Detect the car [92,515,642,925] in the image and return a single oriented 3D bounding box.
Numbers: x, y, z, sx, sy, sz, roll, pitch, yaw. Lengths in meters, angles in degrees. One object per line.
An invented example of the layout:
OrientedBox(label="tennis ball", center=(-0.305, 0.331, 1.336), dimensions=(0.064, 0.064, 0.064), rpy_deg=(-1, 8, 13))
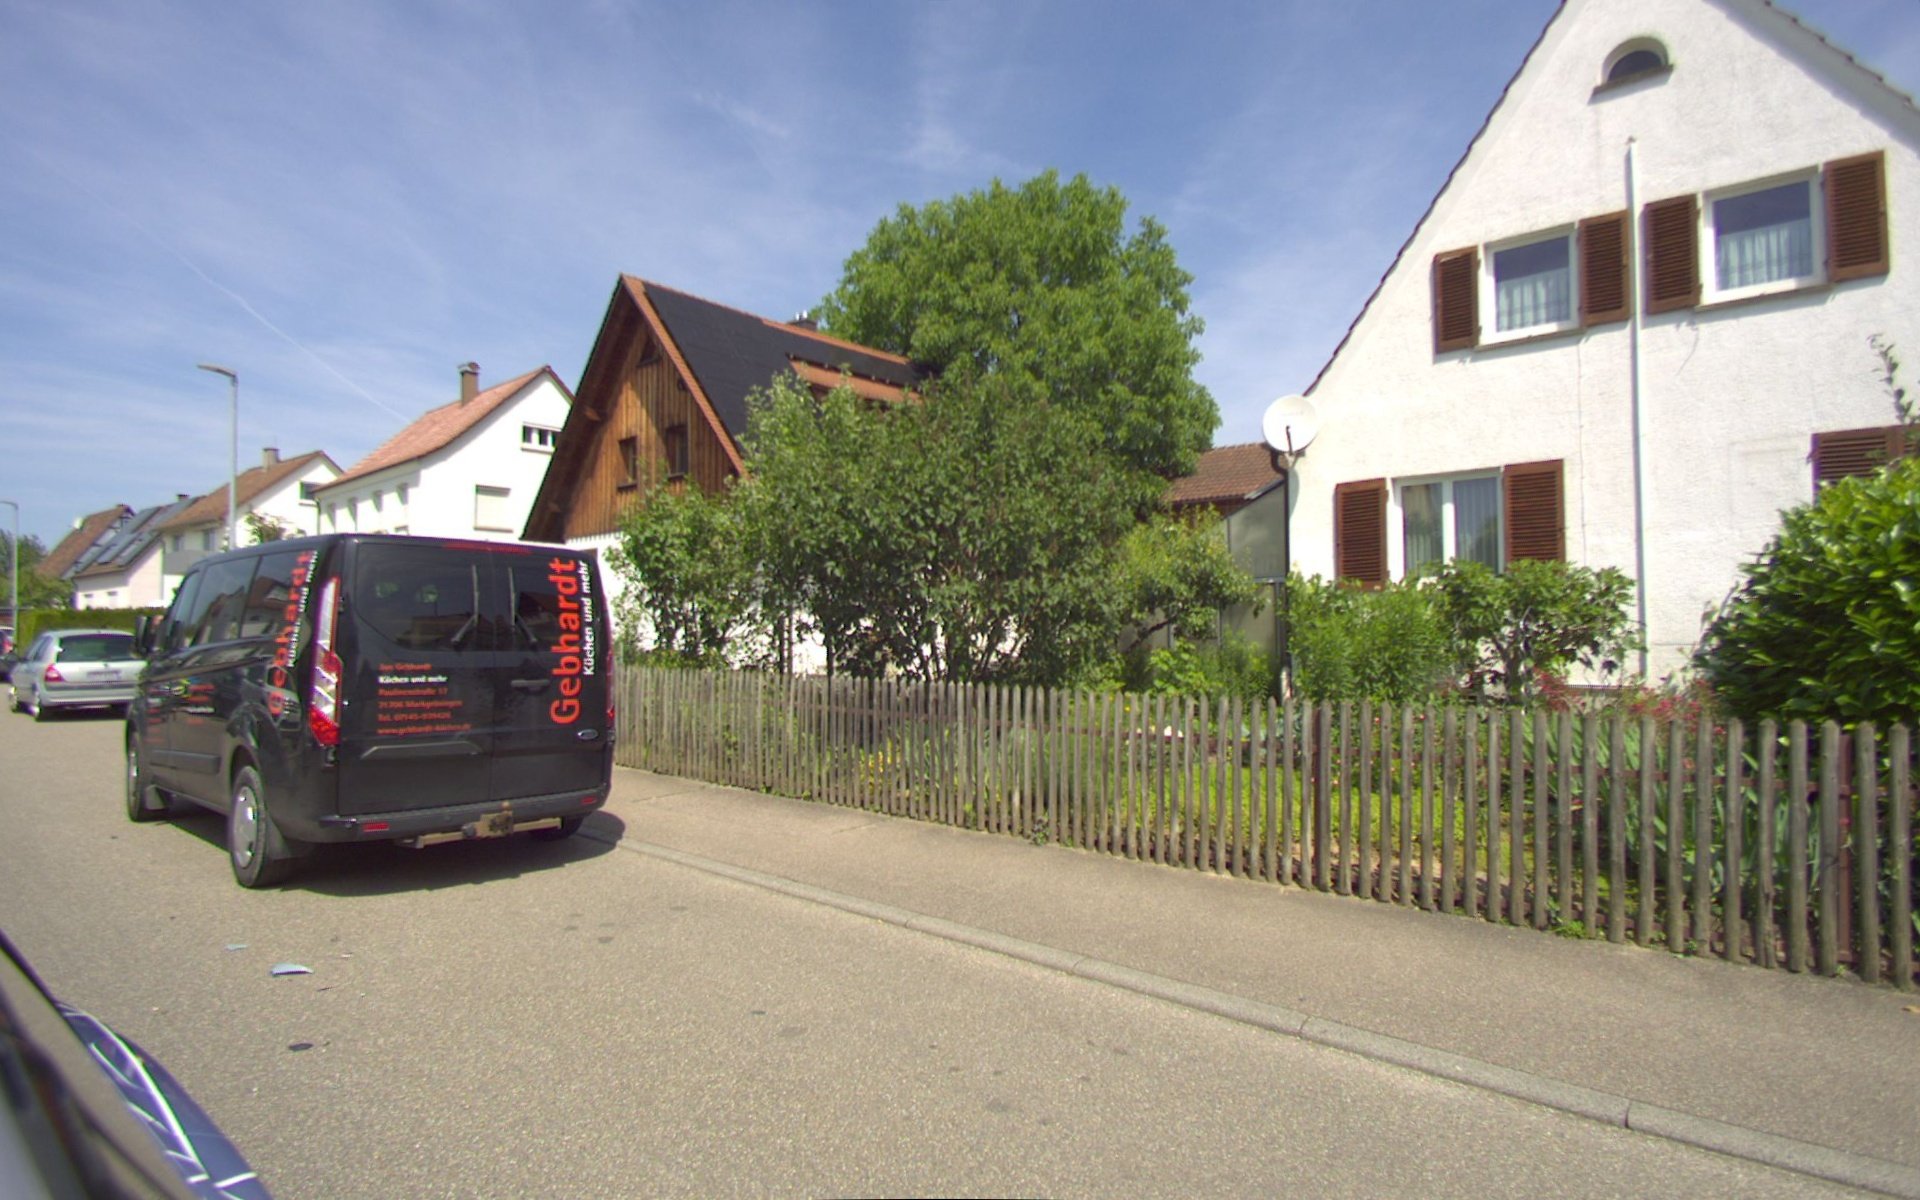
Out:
OrientedBox(label="car", center=(-4.399, 0.636, 7.152), dimensions=(4.693, 1.966, 1.948), rpy_deg=(-2, -2, 41))

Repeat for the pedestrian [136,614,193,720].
OrientedBox(label="pedestrian", center=(-13.277, 1.101, 16.892), dimensions=(0.590, 1.694, 0.631), rpy_deg=(-2, 0, 41))

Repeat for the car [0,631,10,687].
OrientedBox(label="car", center=(-27.117, 1.580, 27.554), dimensions=(3.660, 1.469, 1.580), rpy_deg=(-2, -3, 43))

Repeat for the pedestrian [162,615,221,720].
OrientedBox(label="pedestrian", center=(-12.593, 1.090, 16.585), dimensions=(0.599, 1.655, 0.631), rpy_deg=(-2, 0, 41))

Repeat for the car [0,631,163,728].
OrientedBox(label="car", center=(-14.722, 1.249, 16.883), dimensions=(3.262, 1.453, 1.566), rpy_deg=(-1, -3, 39))

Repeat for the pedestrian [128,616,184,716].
OrientedBox(label="pedestrian", center=(-13.737, 1.113, 17.295), dimensions=(0.590, 1.655, 0.631), rpy_deg=(-2, 0, 41))
